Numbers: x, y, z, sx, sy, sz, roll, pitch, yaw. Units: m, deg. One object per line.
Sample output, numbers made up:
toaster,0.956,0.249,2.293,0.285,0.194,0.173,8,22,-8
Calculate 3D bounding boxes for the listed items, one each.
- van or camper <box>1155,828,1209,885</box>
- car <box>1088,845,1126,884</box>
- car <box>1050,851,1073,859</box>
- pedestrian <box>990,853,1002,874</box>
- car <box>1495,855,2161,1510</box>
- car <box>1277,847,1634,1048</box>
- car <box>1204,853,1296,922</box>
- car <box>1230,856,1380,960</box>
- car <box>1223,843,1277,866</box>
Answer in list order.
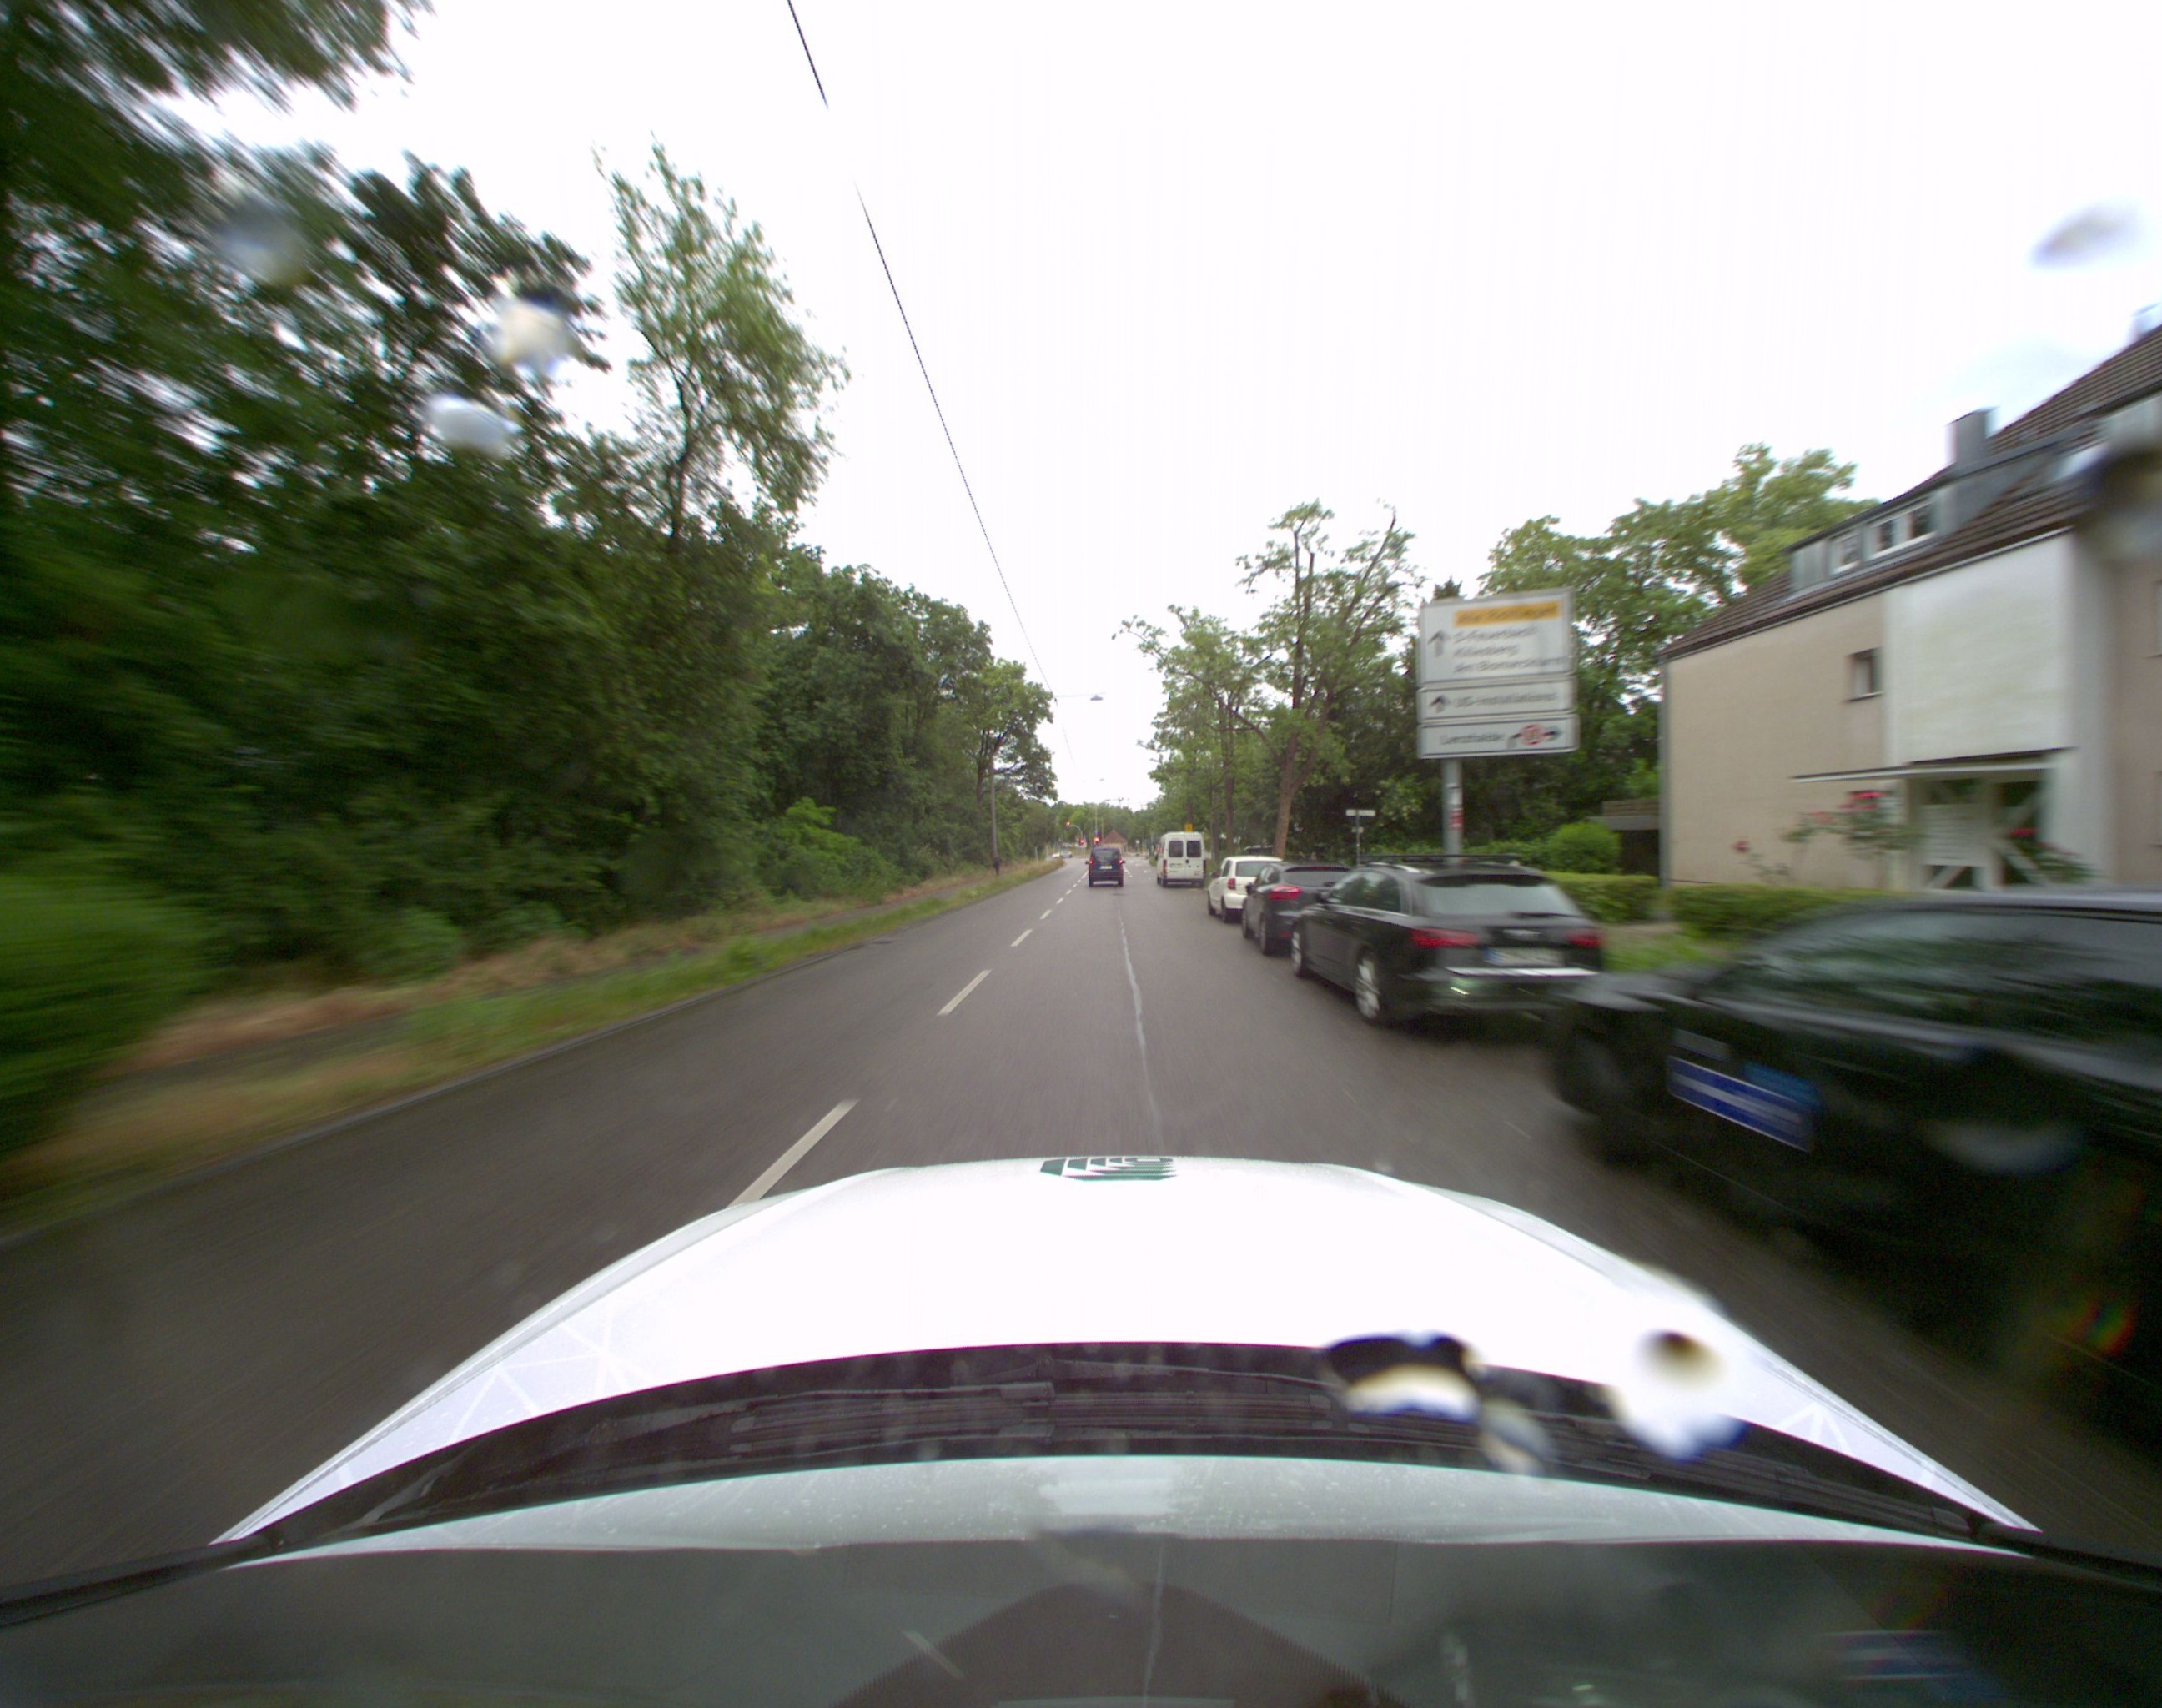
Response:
van or camper,4.742,0.104,39.122,2.029,2.479,5.641,1,0,2
car,1.265,0.449,39.273,1.725,1.786,4.002,0,0,2
car,-3.926,0.265,162.990,4.383,1.311,1.976,-4,1,-40
pedestrian,-6.615,0.726,63.438,0.778,1.607,0.732,-2,0,1
car,3.270,0.753,2.705,1.612,1.468,4.411,0,0,1
car,3.451,0.708,8.657,1.746,1.526,4.826,0,0,2
car,3.958,0.724,19.591,1.565,1.472,3.767,0,0,2
car,3.609,0.783,13.797,1.611,1.470,3.946,0,0,2
car,13.814,0.058,66.507,4.275,1.817,1.881,0,0,12
